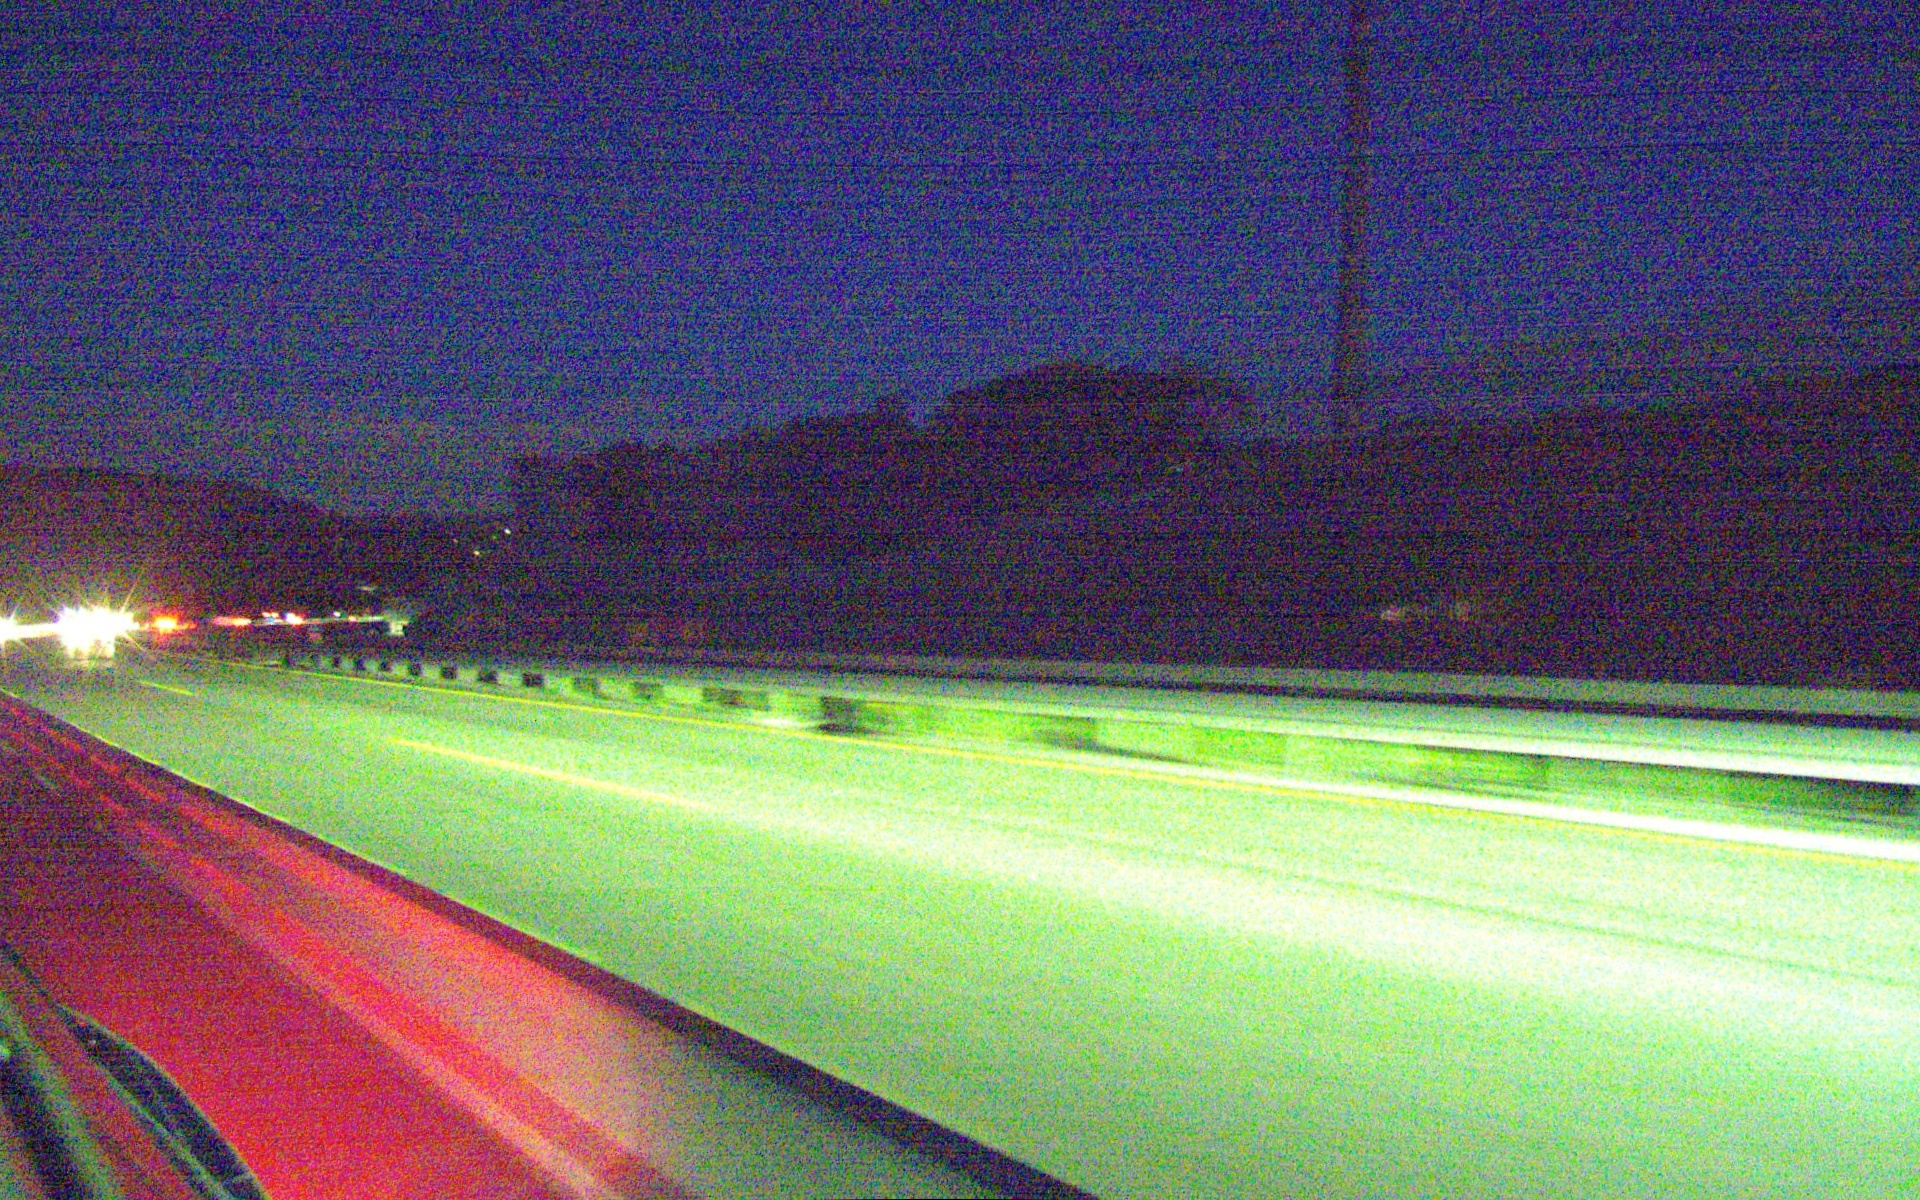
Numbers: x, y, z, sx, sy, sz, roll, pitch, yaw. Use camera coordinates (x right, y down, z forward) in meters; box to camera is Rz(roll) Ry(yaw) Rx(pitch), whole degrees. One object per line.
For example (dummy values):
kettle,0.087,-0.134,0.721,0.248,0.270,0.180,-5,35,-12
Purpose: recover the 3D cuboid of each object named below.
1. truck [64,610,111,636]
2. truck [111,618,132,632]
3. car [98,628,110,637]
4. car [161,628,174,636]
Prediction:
truck,-151.375,3.941,175.774,2.923,4.307,17.197,2,-1,-30
truck,-153.111,4.589,184.867,2.388,2.443,7.108,2,-2,-35
car,-164.456,6.175,194.385,1.665,1.641,4.730,3,-4,-40
car,-159.264,6.411,203.434,1.794,1.527,4.534,2,-1,-35
